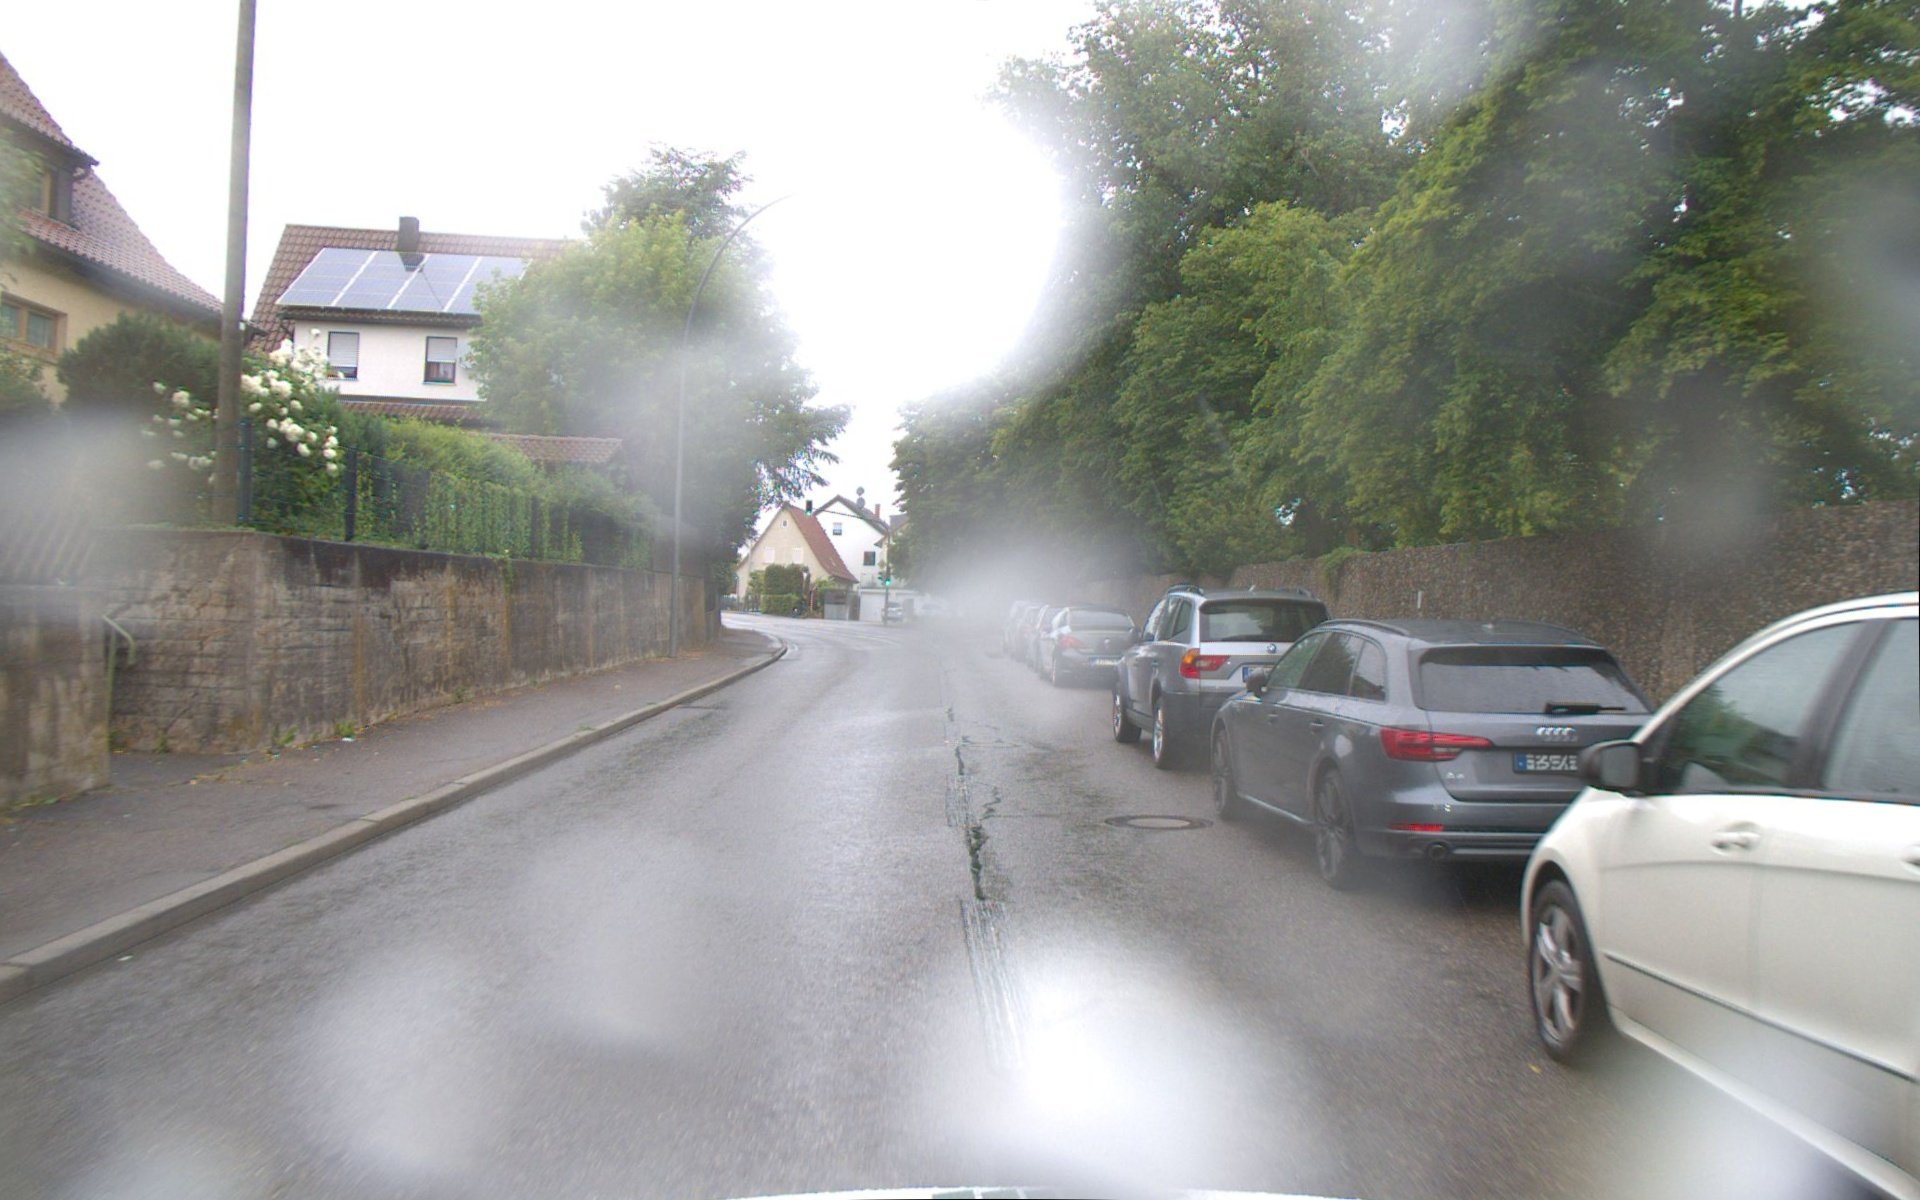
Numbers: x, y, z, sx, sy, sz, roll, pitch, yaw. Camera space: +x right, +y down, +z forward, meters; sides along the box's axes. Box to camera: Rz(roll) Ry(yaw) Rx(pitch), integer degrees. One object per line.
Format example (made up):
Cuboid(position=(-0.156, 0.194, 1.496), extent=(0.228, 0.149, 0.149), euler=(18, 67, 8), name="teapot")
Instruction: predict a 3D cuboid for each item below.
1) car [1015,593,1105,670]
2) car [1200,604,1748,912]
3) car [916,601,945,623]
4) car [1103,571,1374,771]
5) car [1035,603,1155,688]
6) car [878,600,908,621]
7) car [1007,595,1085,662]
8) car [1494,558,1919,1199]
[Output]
Cuboid(position=(2.130, 0.681, 36.038), extent=(1.614, 1.523, 3.708), euler=(2, -1, -1), name="car")
Cuboid(position=(2.850, 0.788, 10.377), extent=(1.729, 1.472, 4.693), euler=(1, -1, -3), name="car")
Cuboid(position=(-2.161, 0.861, 120.530), extent=(1.867, 1.467, 4.001), euler=(1, 0, 2), name="car")
Cuboid(position=(2.595, 0.631, 16.485), extent=(1.707, 1.697, 4.494), euler=(1, -1, -3), name="car")
Cuboid(position=(2.400, 0.781, 30.386), extent=(1.619, 1.395, 4.179), euler=(1, 0, -3), name="car")
Cuboid(position=(-4.872, 0.786, 120.893), extent=(1.867, 1.467, 4.001), euler=(1, 0, 2), name="car")
Cuboid(position=(2.107, 0.714, 41.461), extent=(1.614, 1.523, 4.245), euler=(2, -1, -1), name="car")
Cuboid(position=(2.922, 0.735, 4.362), extent=(1.777, 1.601, 3.880), euler=(1, -1, 0), name="car")
